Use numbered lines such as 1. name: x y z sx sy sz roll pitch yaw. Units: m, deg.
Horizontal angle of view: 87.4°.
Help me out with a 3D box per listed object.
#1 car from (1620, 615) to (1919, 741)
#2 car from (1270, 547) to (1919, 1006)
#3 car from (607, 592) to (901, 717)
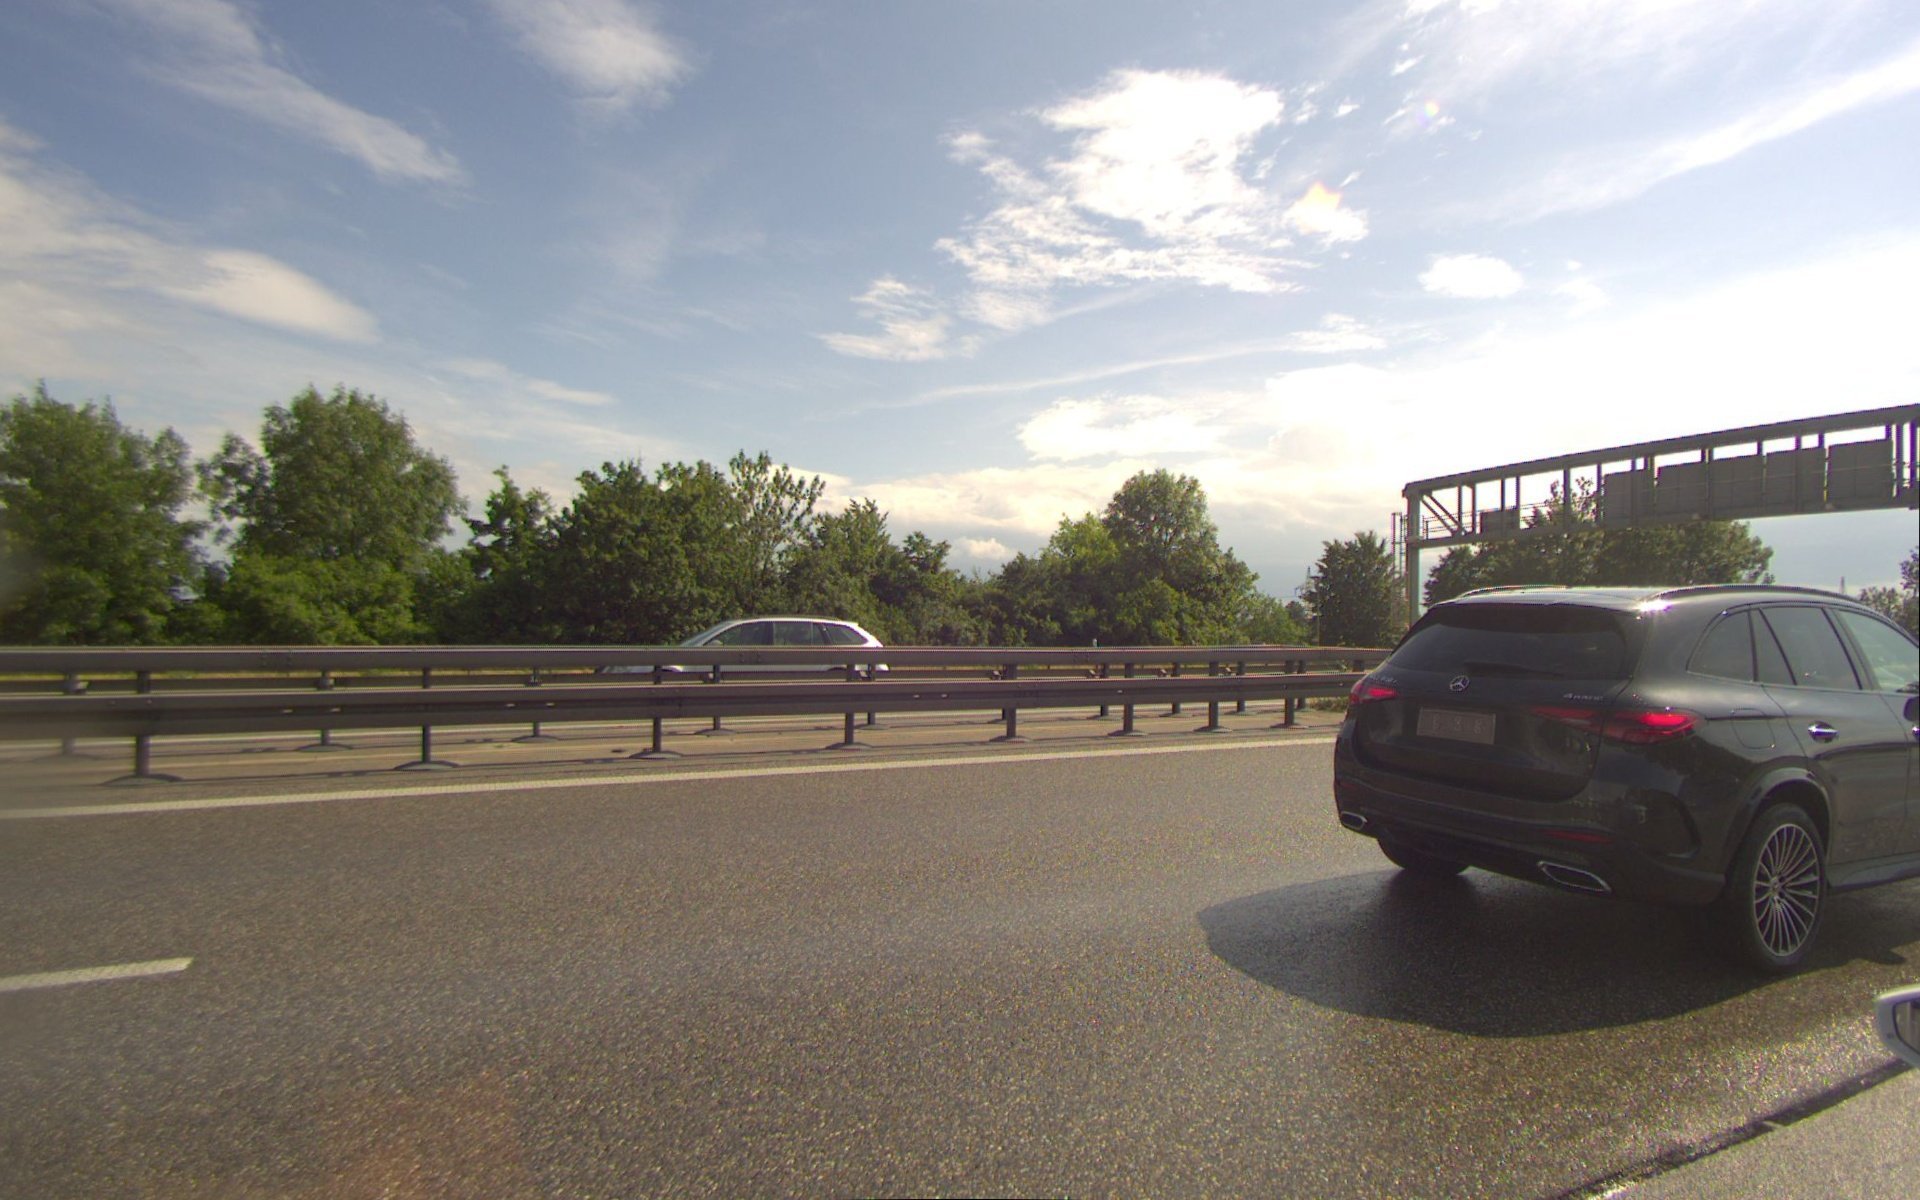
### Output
1. car: 11.472 1.023 14.182 4.154 1.537 1.751 1 -1 -27
2. car: 4.072 0.706 5.584 4.350 1.683 1.986 2 -1 -28
3. car: -3.209 0.801 15.783 4.106 1.729 1.984 1 -1 -30
